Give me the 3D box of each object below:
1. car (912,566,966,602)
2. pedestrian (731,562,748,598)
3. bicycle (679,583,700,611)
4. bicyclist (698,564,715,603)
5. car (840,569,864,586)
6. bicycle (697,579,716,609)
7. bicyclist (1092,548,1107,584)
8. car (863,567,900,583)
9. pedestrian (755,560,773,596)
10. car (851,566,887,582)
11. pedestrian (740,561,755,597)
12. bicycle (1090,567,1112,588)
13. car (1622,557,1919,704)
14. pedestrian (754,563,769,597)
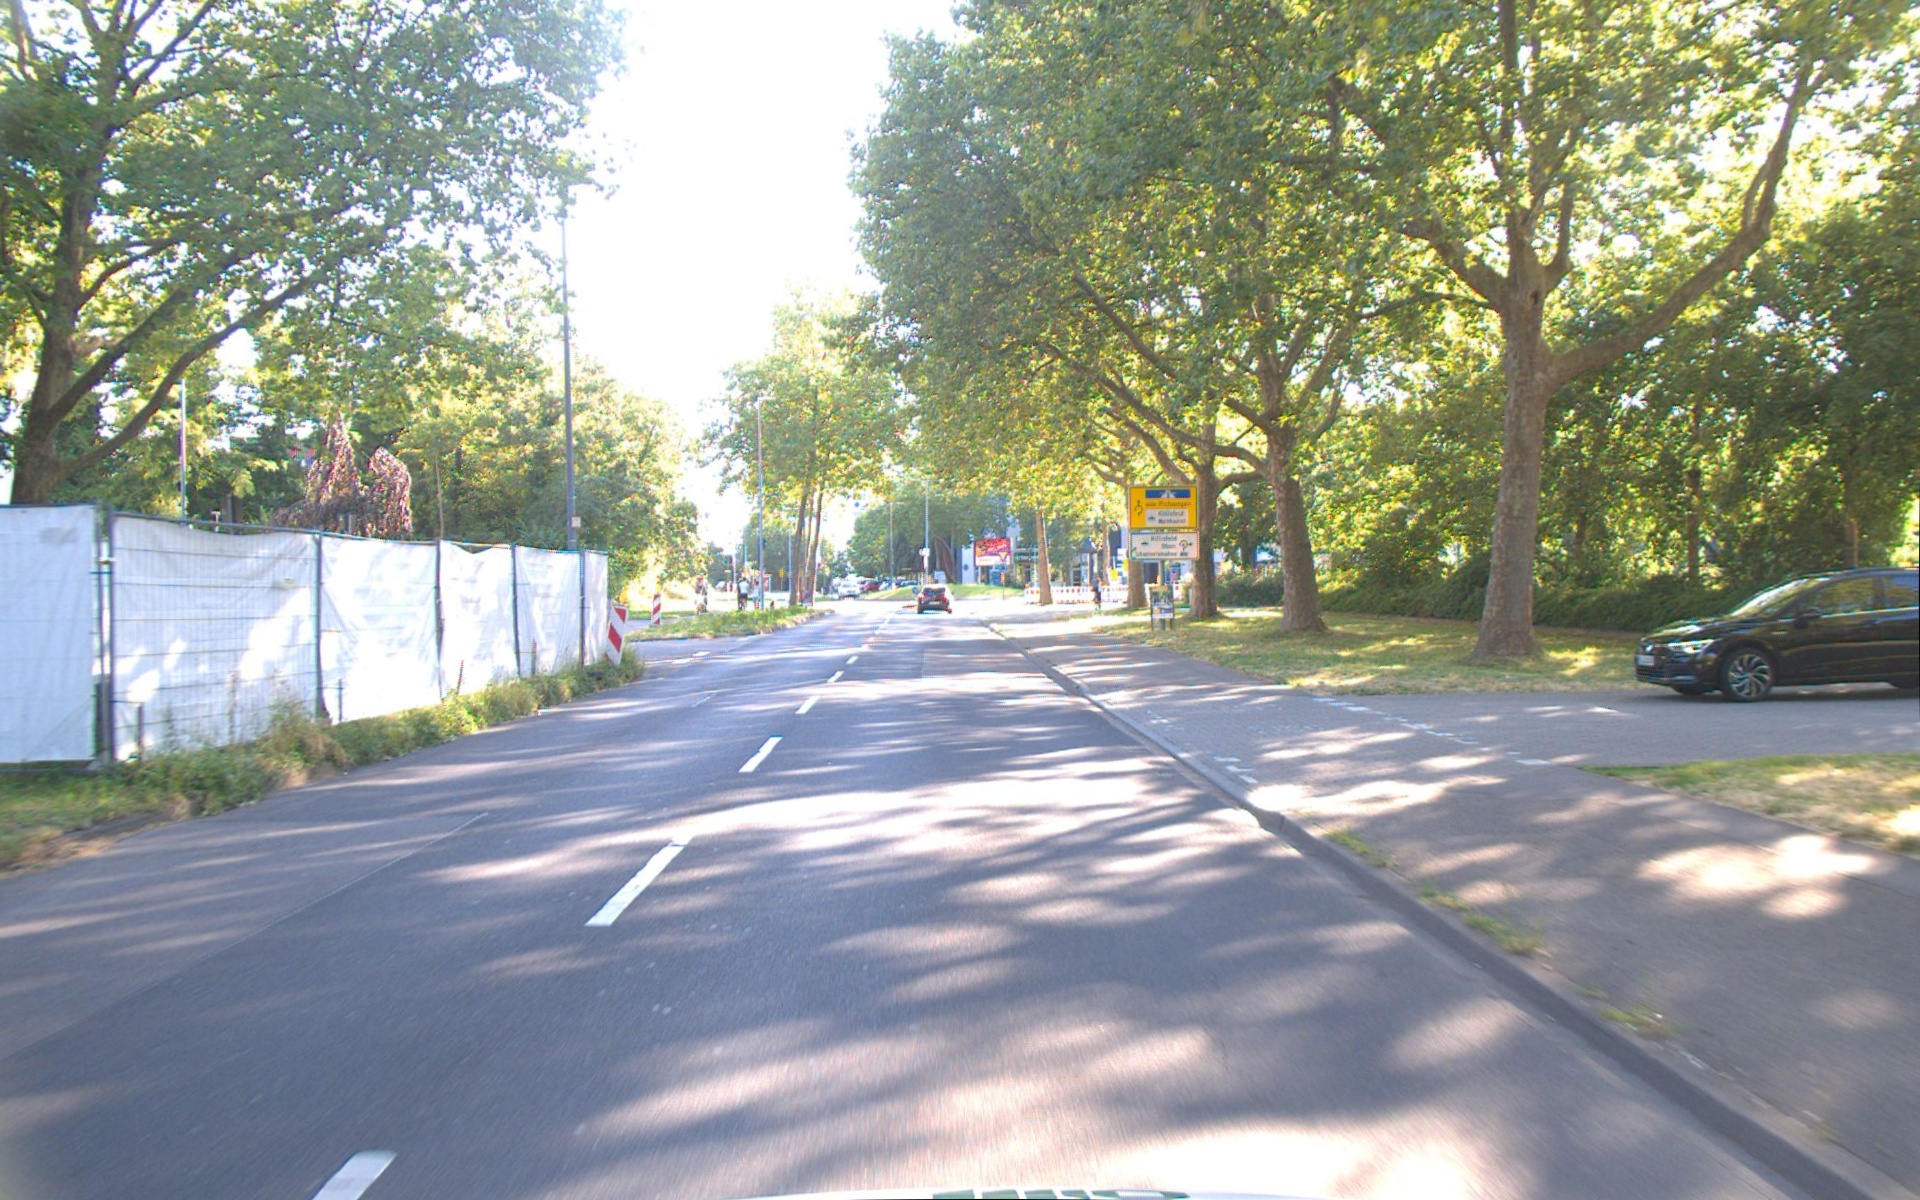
[{"bbox_3d":[-1.025,-0.828,83.747,1.800,1.633,3.867,-2,1,13],"label":"car"},{"bbox_3d":[-11.195,-1.014,84.018,0.652,1.769,0.751,-2,2,1],"label":"pedestrian"},{"bbox_3d":[-12.747,-0.158,77.950,0.567,1.206,2.032,-6,2,-2],"label":"bicycle"},{"bbox_3d":[-11.663,-0.766,76.017,0.567,1.708,0.970,-3,2,-2],"label":"bicyclist"},{"bbox_3d":[-10.694,-2.249,164.149,1.957,1.606,3.992,-2,2,-9],"label":"car"},{"bbox_3d":[-11.641,-0.278,76.010,0.567,1.267,2.107,-3,3,-2],"label":"bicycle"},{"bbox_3d":[6.806,-1.647,80.707,0.637,1.734,0.871,-1,2,-1],"label":"bicyclist"},{"bbox_3d":[-9.247,-2.982,194.065,3.947,1.777,1.777,-2,2,-31],"label":"car"},{"bbox_3d":[-9.986,-1.117,84.191,0.733,1.769,0.852,-2,2,1],"label":"pedestrian"},{"bbox_3d":[-10.793,-3.118,196.389,3.947,1.777,1.777,-2,2,-31],"label":"car"},{"bbox_3d":[-10.683,-1.049,83.254,0.619,1.769,0.665,-2,2,1],"label":"pedestrian"},{"bbox_3d":[6.862,-1.101,80.605,0.754,0.980,2.174,-4,1,-1],"label":"bicycle"},{"bbox_3d":[10.216,0.320,19.730,3.904,1.468,1.761,-3,2,2],"label":"car"},{"bbox_3d":[-9.963,-1.024,82.904,0.619,1.666,0.576,-2,2,-1],"label":"pedestrian"}]
